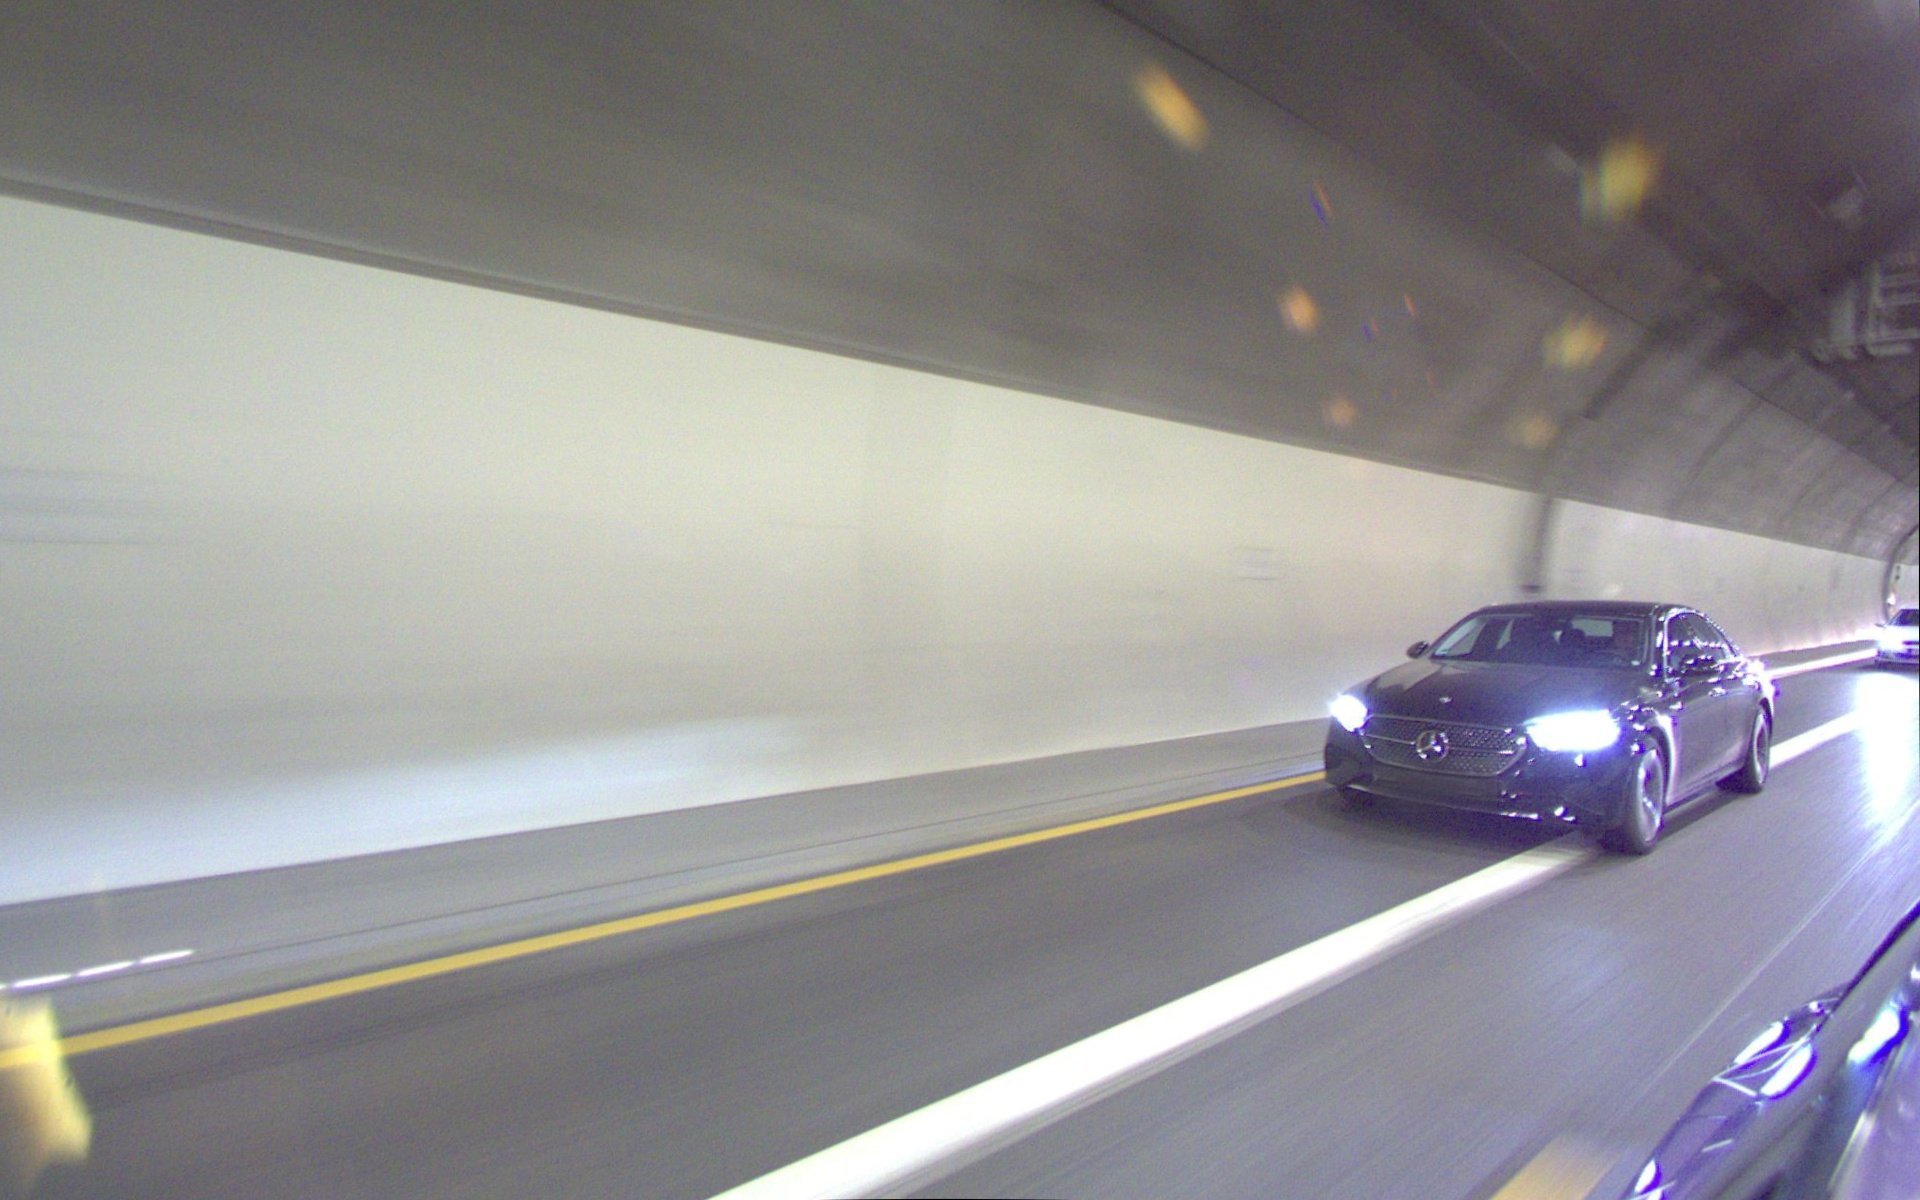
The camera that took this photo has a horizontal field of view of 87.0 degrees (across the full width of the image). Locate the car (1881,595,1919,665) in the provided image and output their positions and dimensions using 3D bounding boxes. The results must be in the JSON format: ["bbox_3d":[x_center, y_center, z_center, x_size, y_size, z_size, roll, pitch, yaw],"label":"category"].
[{"bbox_3d":[22.196,0.664,22.591,3.961,1.479,1.802,0,1,-39],"label":"car"}]

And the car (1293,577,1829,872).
[{"bbox_3d":[4.693,0.615,7.538,4.867,1.490,1.930,0,2,-40],"label":"car"}]
